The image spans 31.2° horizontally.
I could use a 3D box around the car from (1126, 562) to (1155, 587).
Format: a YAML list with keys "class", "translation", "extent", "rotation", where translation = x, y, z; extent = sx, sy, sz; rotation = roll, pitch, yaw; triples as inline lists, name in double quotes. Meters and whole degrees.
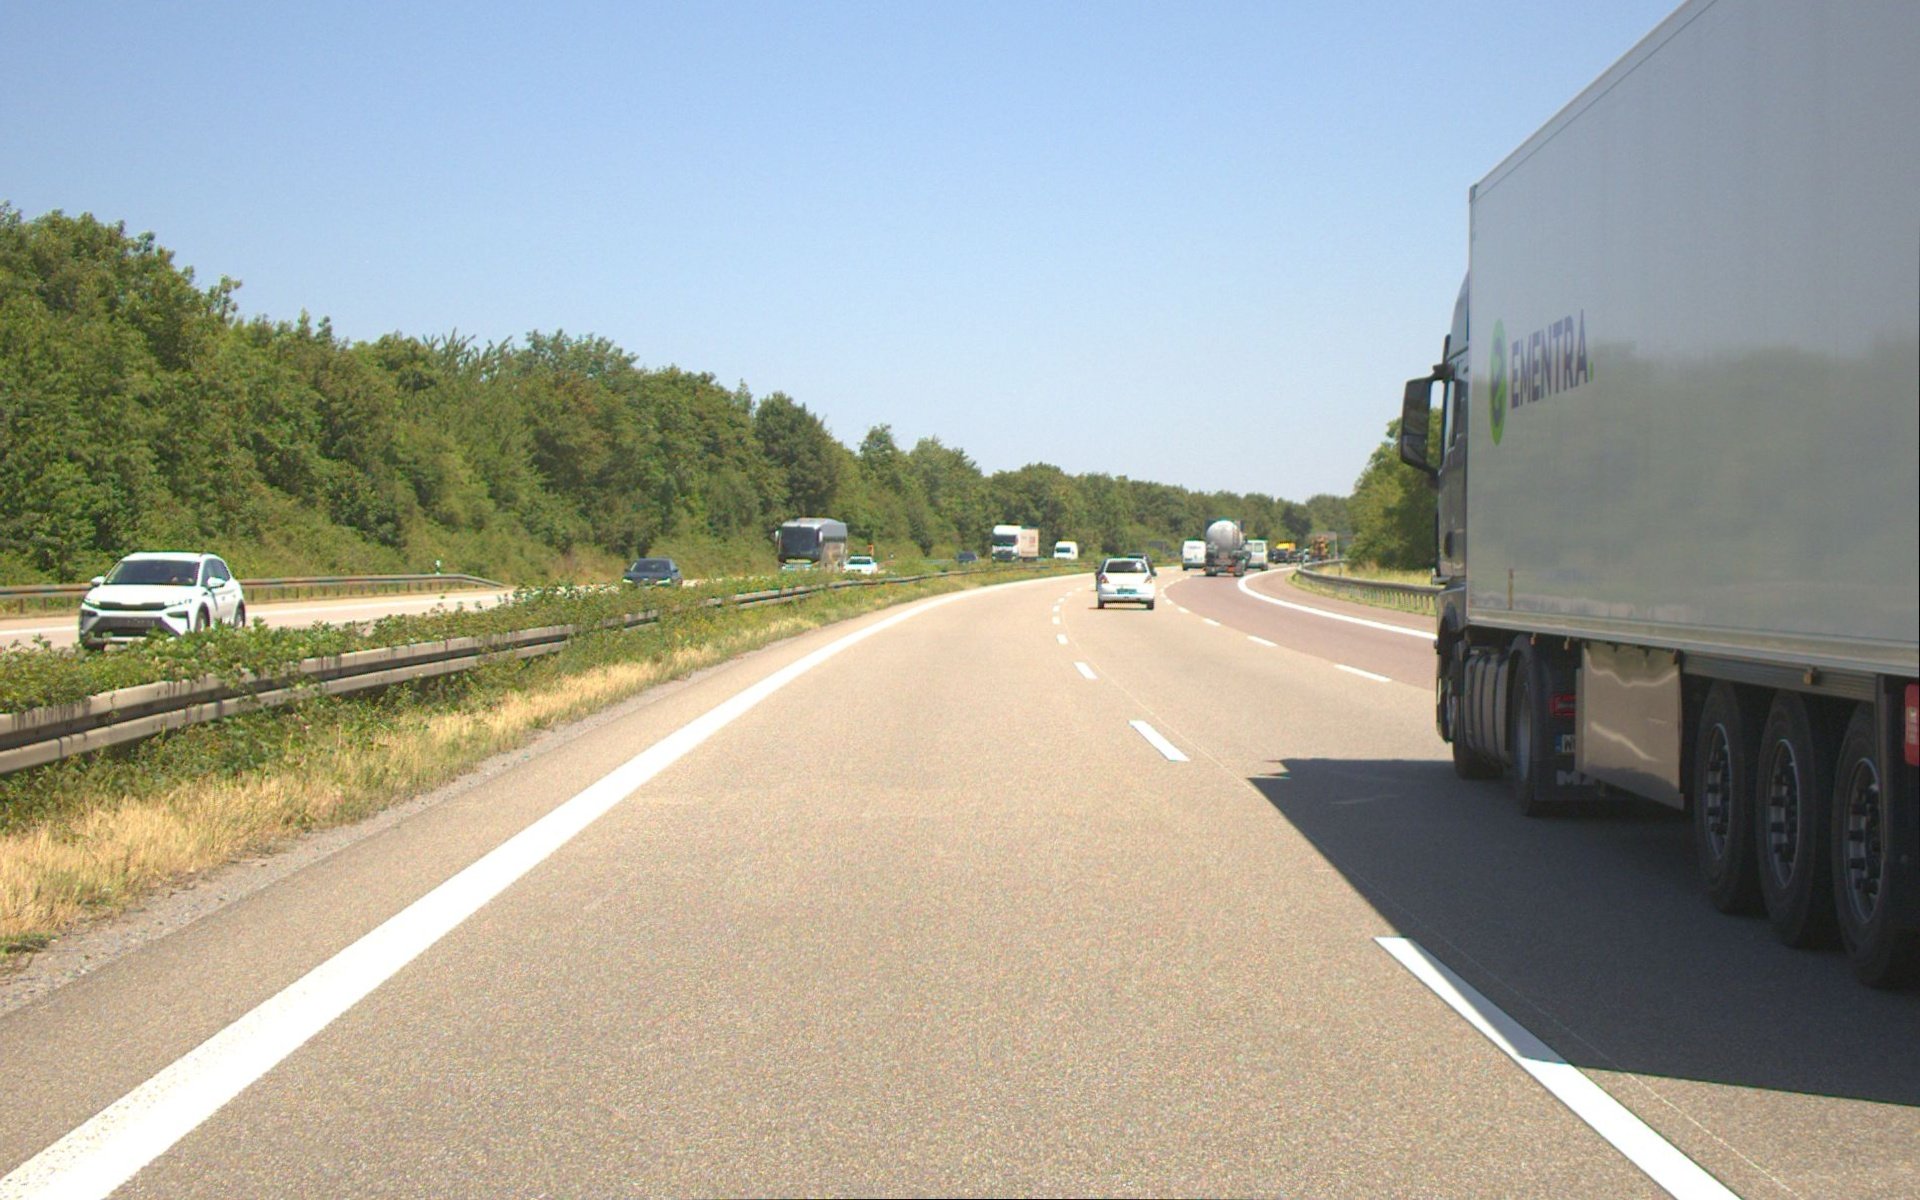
- class: "car"
  translation: [10.844, -1.552, 206.765]
  extent: [1.627, 1.474, 4.000]
  rotation: [0, 0, 2]

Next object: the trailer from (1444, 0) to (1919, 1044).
- class: "trailer"
  translation: [4.578, -0.992, 15.933]
  extent: [2.901, 4.641, 13.986]
  rotation: [1, 1, 1]

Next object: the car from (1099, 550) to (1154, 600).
- class: "car"
  translation: [5.011, -0.750, 103.272]
  extent: [1.627, 1.474, 4.000]
  rotation: [0, 0, 3]

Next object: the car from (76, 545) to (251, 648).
- class: "car"
  translation: [-12.716, -0.091, 55.145]
  extent: [1.842, 1.581, 4.488]
  rotation: [0, 1, -1]

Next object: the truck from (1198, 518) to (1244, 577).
- class: "truck"
  translation: [18.428, -3.657, 242.272]
  extent: [2.740, 4.038, 10.452]
  rotation: [0, 0, 7]

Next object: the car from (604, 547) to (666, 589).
- class: "car"
  translation: [-11.912, -1.193, 126.273]
  extent: [1.782, 1.512, 4.501]
  rotation: [0, 1, 1]

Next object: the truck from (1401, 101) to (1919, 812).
- class: "truck"
  translation: [4.728, -0.894, 23.162]
  extent: [2.908, 4.241, 4.975]
  rotation: [1, 1, 1]

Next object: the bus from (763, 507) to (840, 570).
- class: "bus"
  translation: [-9.671, -3.724, 210.822]
  extent: [2.742, 3.695, 12.997]
  rotation: [1, 1, 6]
